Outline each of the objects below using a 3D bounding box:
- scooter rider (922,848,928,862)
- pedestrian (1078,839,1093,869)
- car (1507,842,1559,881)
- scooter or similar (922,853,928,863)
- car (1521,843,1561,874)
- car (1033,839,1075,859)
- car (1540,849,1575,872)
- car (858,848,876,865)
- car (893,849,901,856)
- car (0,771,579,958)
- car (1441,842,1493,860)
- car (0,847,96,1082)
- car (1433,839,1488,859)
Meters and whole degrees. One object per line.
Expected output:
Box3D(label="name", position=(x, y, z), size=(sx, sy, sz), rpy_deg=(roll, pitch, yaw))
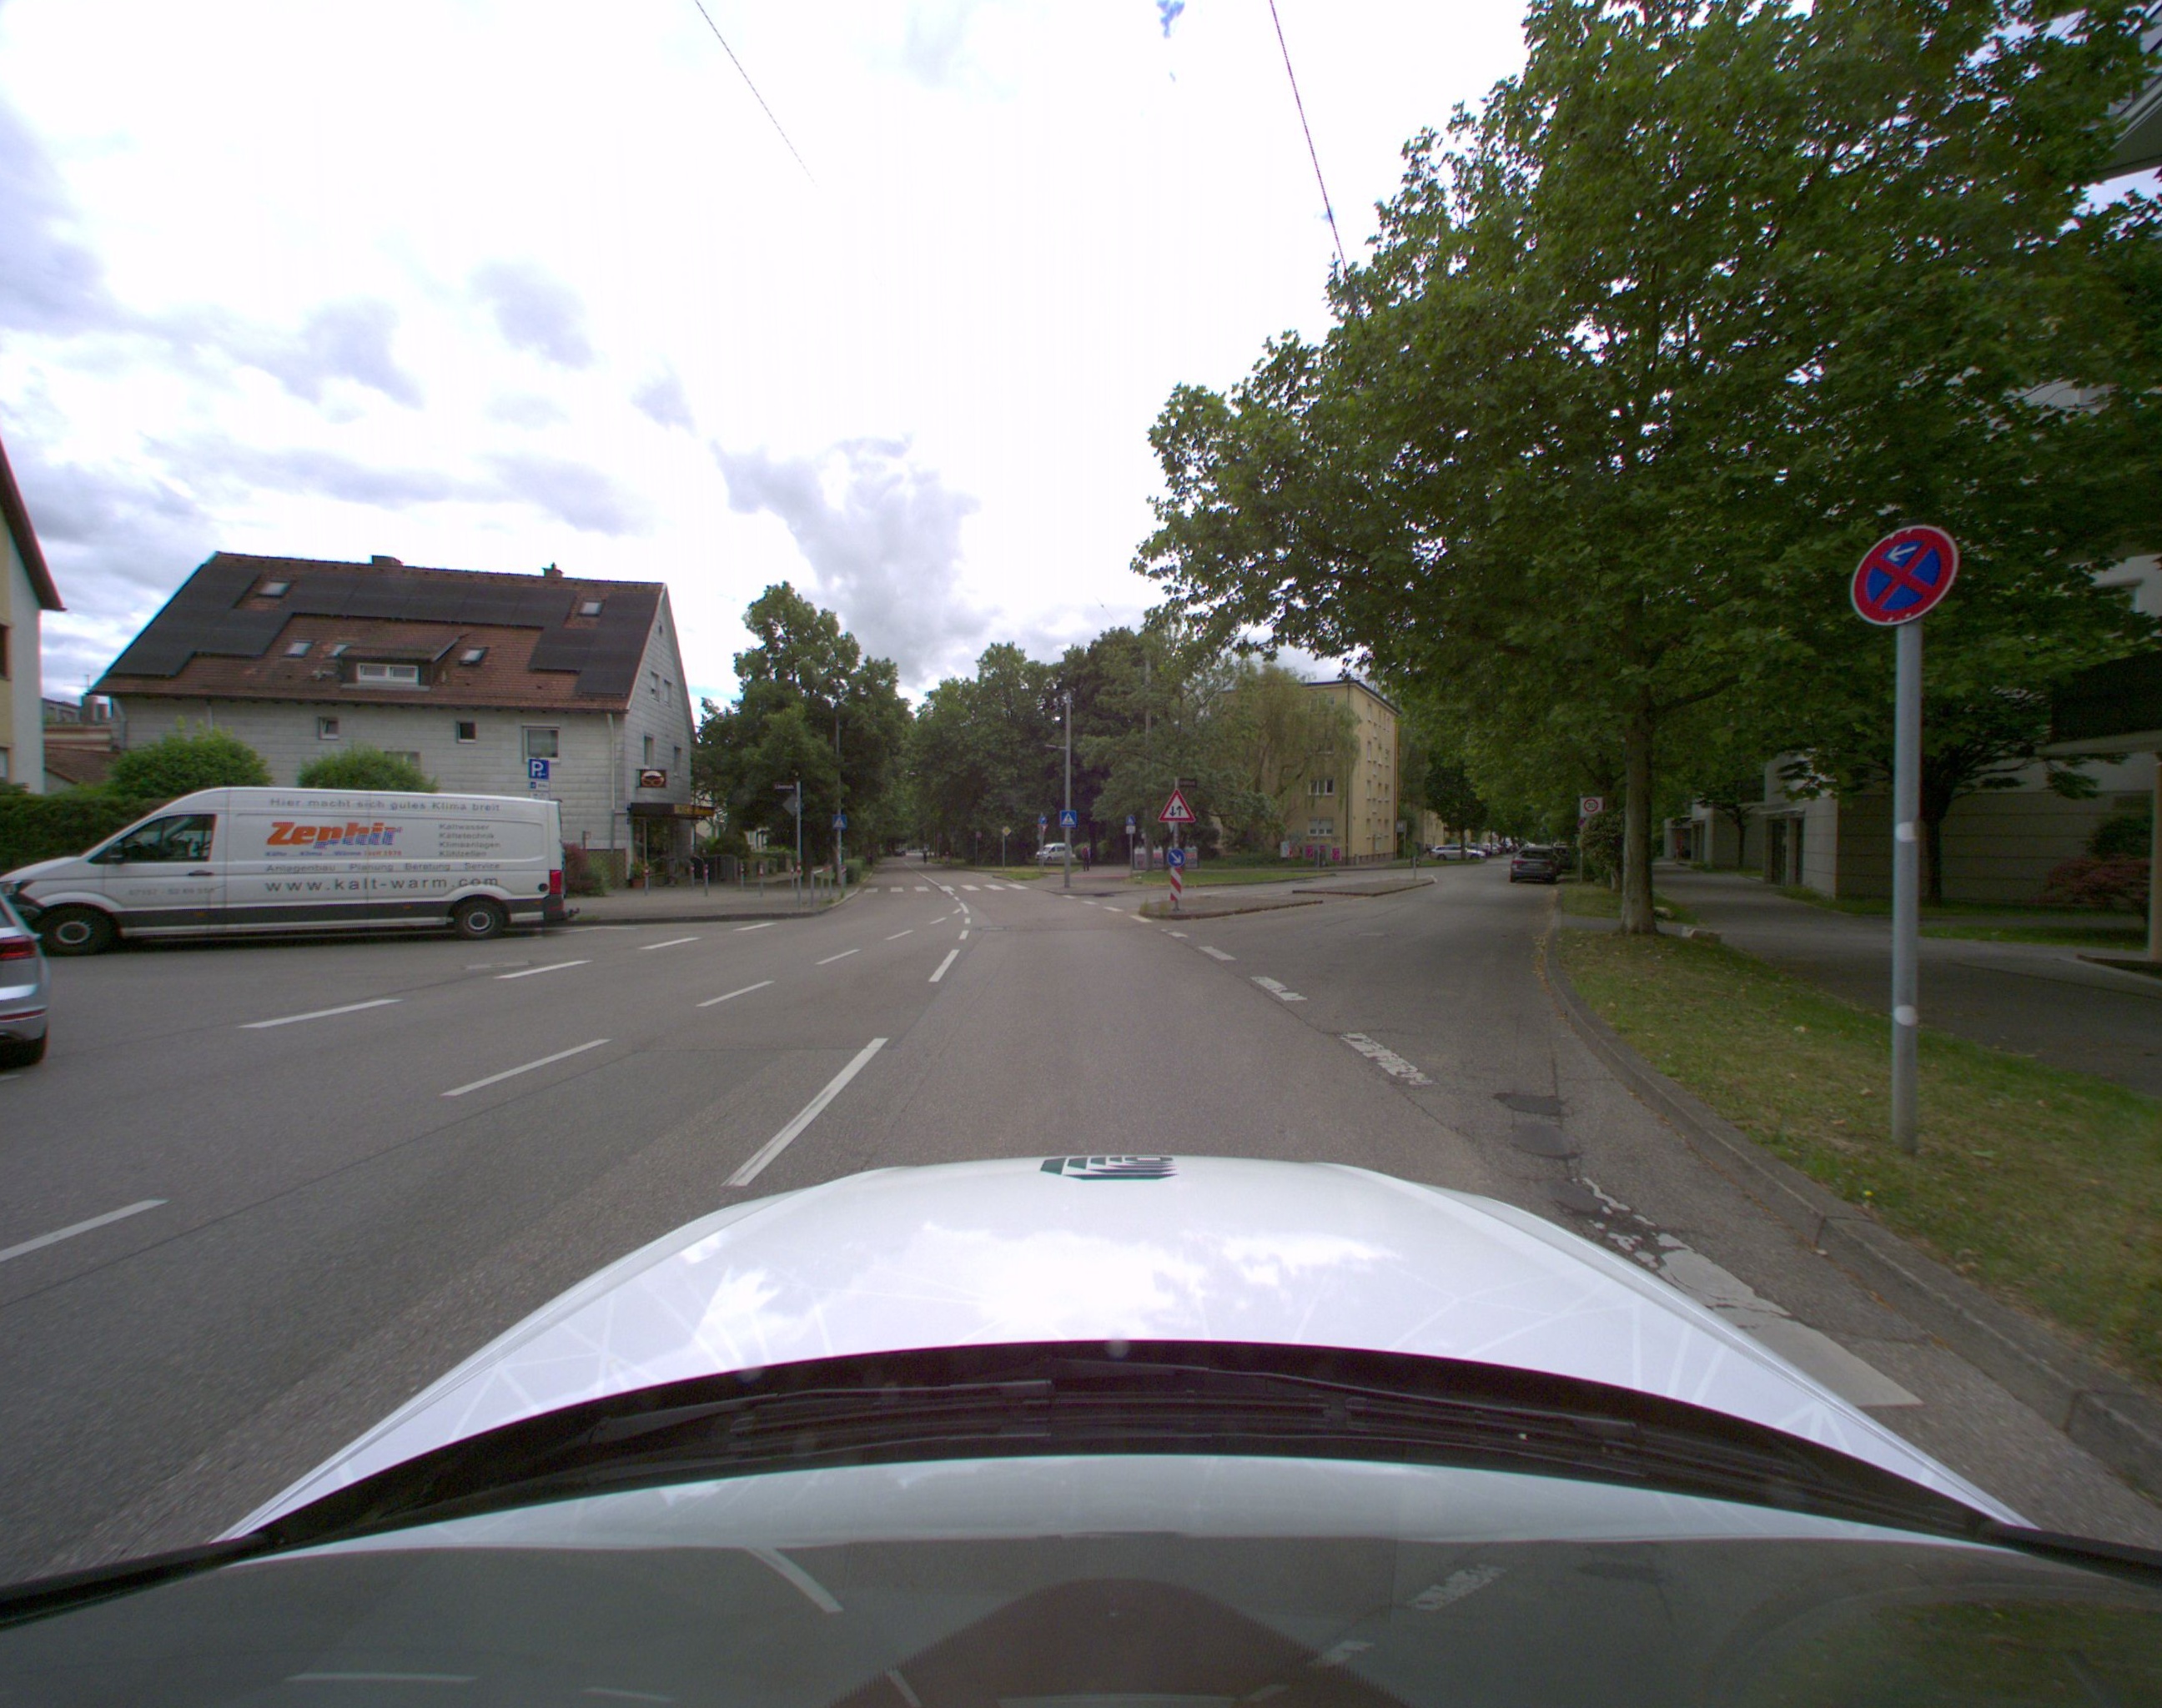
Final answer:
Box3D(label="scooter rider", position=(-18.231, 0.119, 95.169), size=(0.601, 1.552, 0.564), rpy_deg=(-1, 2, -11))
Box3D(label="pedestrian", position=(0.293, 0.007, 54.492), size=(0.921, 1.871, 1.019), rpy_deg=(-4, 3, -1))
Box3D(label="car", position=(20.235, 0.323, 36.376), size=(1.857, 1.568, 4.044), rpy_deg=(3, 1, 31))
Box3D(label="scooter or similar", position=(-18.194, 0.487, 95.030), size=(0.601, 1.054, 0.870), rpy_deg=(-1, 2, -11))
Box3D(label="car", position=(25.858, 0.263, 45.722), size=(1.761, 1.597, 4.275), rpy_deg=(2, 1, 32))
Box3D(label="car", position=(-3.460, -0.611, 104.736), size=(2.111, 2.297, 5.418), rpy_deg=(4, 2, 41))
Box3D(label="car", position=(30.467, 0.407, 52.024), size=(1.627, 1.375, 3.466), rpy_deg=(3, 1, 34))
Box3D(label="car", position=(-23.799, 0.267, 90.487), size=(1.647, 1.724, 3.778), rpy_deg=(2, 1, -17))
Box3D(label="car", position=(-43.836, -0.425, 194.182), size=(1.836, 1.498, 3.639), rpy_deg=(2, 1, -14))
Box3D(label="car", position=(-12.597, 0.128, 13.640), size=(7.009, 2.521, 2.063), rpy_deg=(1, 2, -35))
Box3D(label="car", position=(35.369, -0.249, 74.623), size=(4.170, 1.488, 1.840), rpy_deg=(-3, -2, 30))
Box3D(label="car", position=(-9.286, 0.747, 6.123), size=(3.948, 1.574, 1.941), rpy_deg=(0, 1, 33))
Box3D(label="car", position=(33.333, -0.423, 71.540), size=(4.154, 1.576, 1.829), rpy_deg=(-3, -2, 30))
